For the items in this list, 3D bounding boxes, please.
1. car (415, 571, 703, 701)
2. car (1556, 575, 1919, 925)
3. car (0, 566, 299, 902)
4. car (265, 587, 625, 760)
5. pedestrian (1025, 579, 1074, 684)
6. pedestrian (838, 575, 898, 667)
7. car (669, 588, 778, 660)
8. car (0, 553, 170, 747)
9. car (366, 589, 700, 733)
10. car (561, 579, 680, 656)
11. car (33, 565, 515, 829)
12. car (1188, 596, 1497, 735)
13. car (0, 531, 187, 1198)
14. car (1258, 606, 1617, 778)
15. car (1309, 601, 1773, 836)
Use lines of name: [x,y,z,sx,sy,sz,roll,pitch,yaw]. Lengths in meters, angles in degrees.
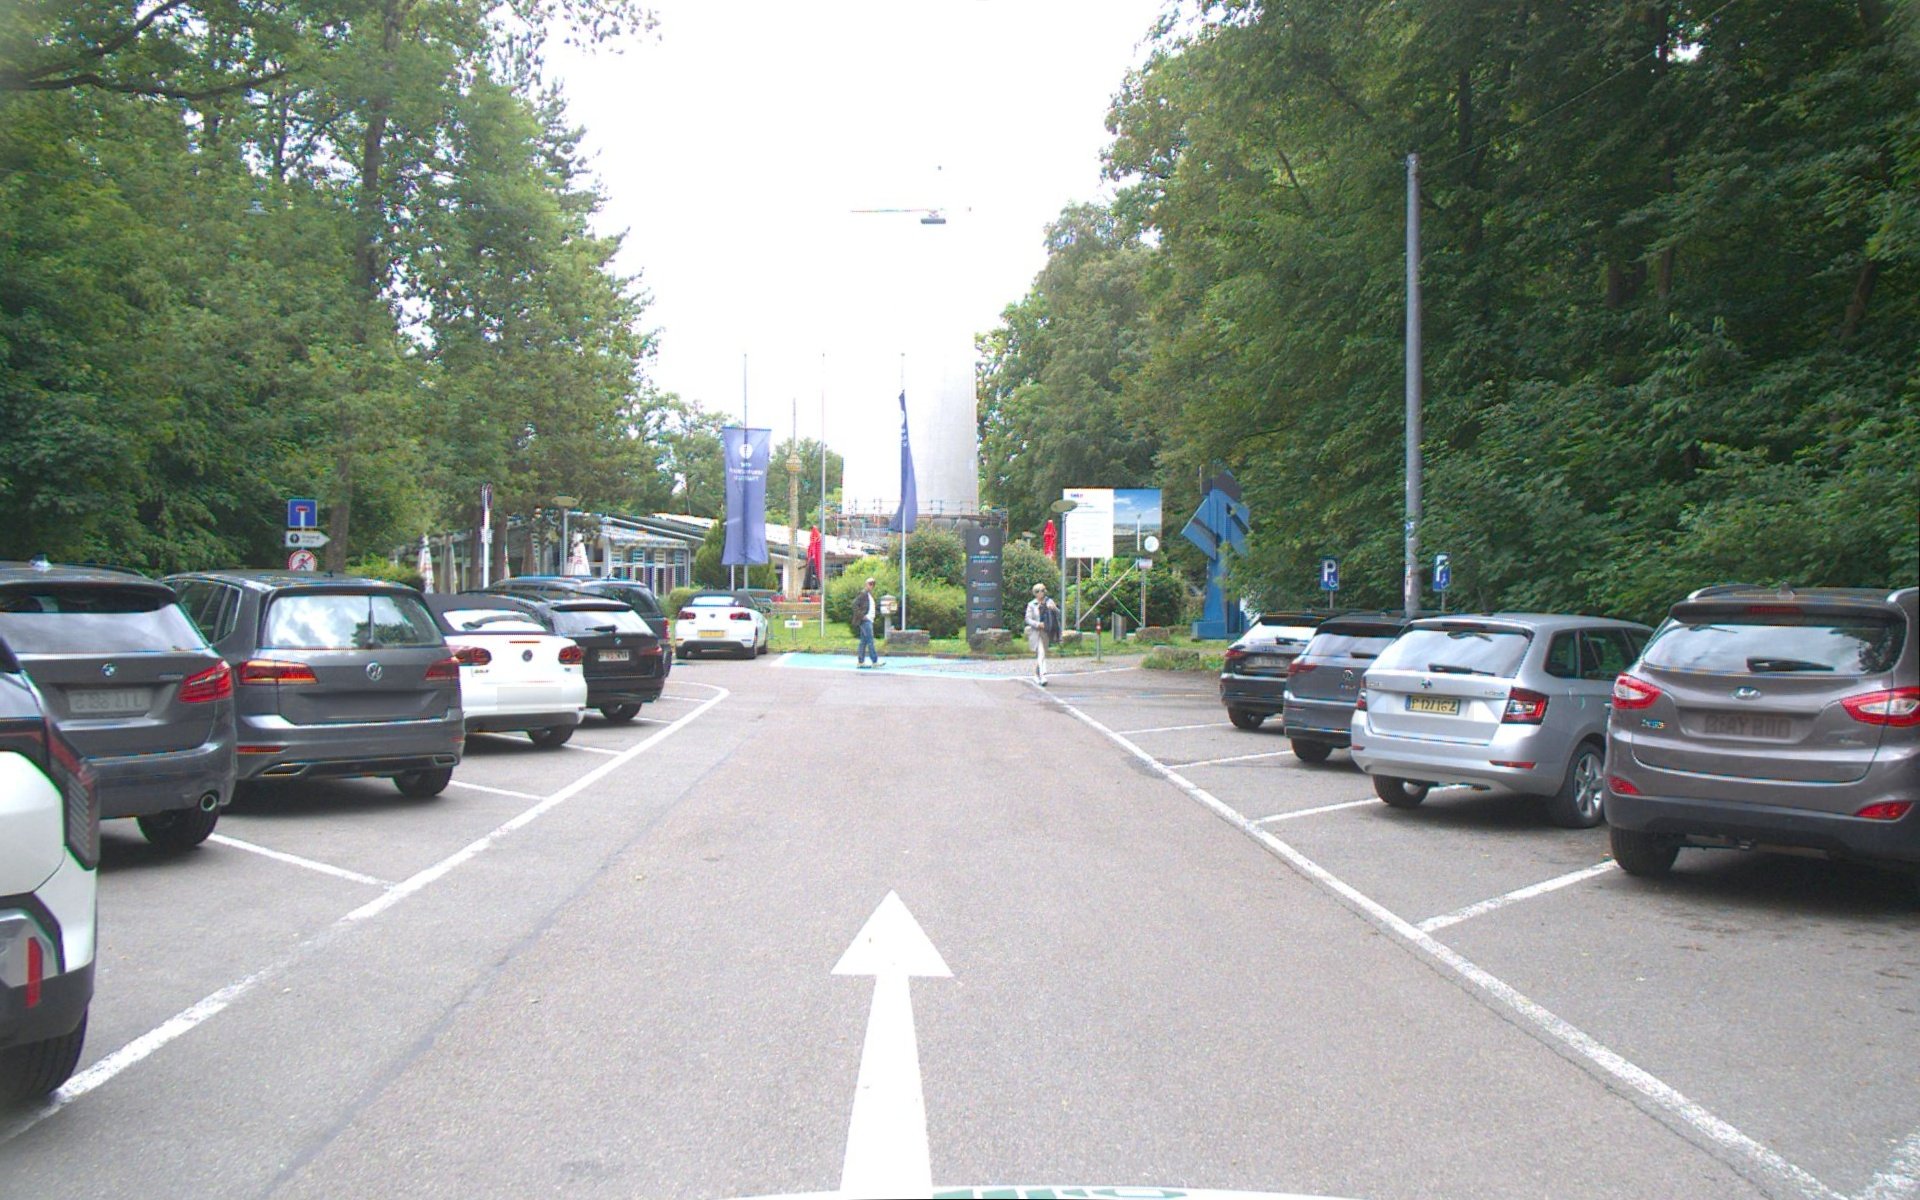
car: [-5.688,0.440,23.191,4.309,1.637,1.819,1,0,42]
car: [5.418,0.712,10.004,1.931,1.665,4.236,1,0,43]
car: [-5.736,0.602,9.447,3.920,1.581,1.866,1,1,36]
car: [-5.130,0.628,16.244,3.780,1.468,1.761,1,0,44]
pedestrian: [1.510,0.521,28.104,0.746,1.755,0.897,1,0,-1]
pedestrian: [-1.782,0.394,32.203,0.878,1.755,0.762,1,0,32]
car: [-5.101,0.478,36.199,1.854,1.453,3.999,1,0,-1]
car: [-9.549,0.415,16.178,3.927,1.692,1.888,1,0,41]
car: [-5.072,0.635,19.362,4.201,1.468,1.750,1,0,41]
car: [-7.522,0.348,36.984,1.854,1.612,4.000,1,0,-1]
car: [-5.157,0.562,12.199,3.907,1.614,1.836,1,1,43]
car: [4.784,0.734,20.314,1.866,1.488,4.177,1,0,43]
car: [-4.186,0.616,5.003,4.113,1.624,1.836,1,1,41]
car: [4.825,0.807,16.388,1.876,1.447,3.975,1,0,42]
car: [4.629,0.781,12.905,3.968,1.492,1.806,0,1,-43]
